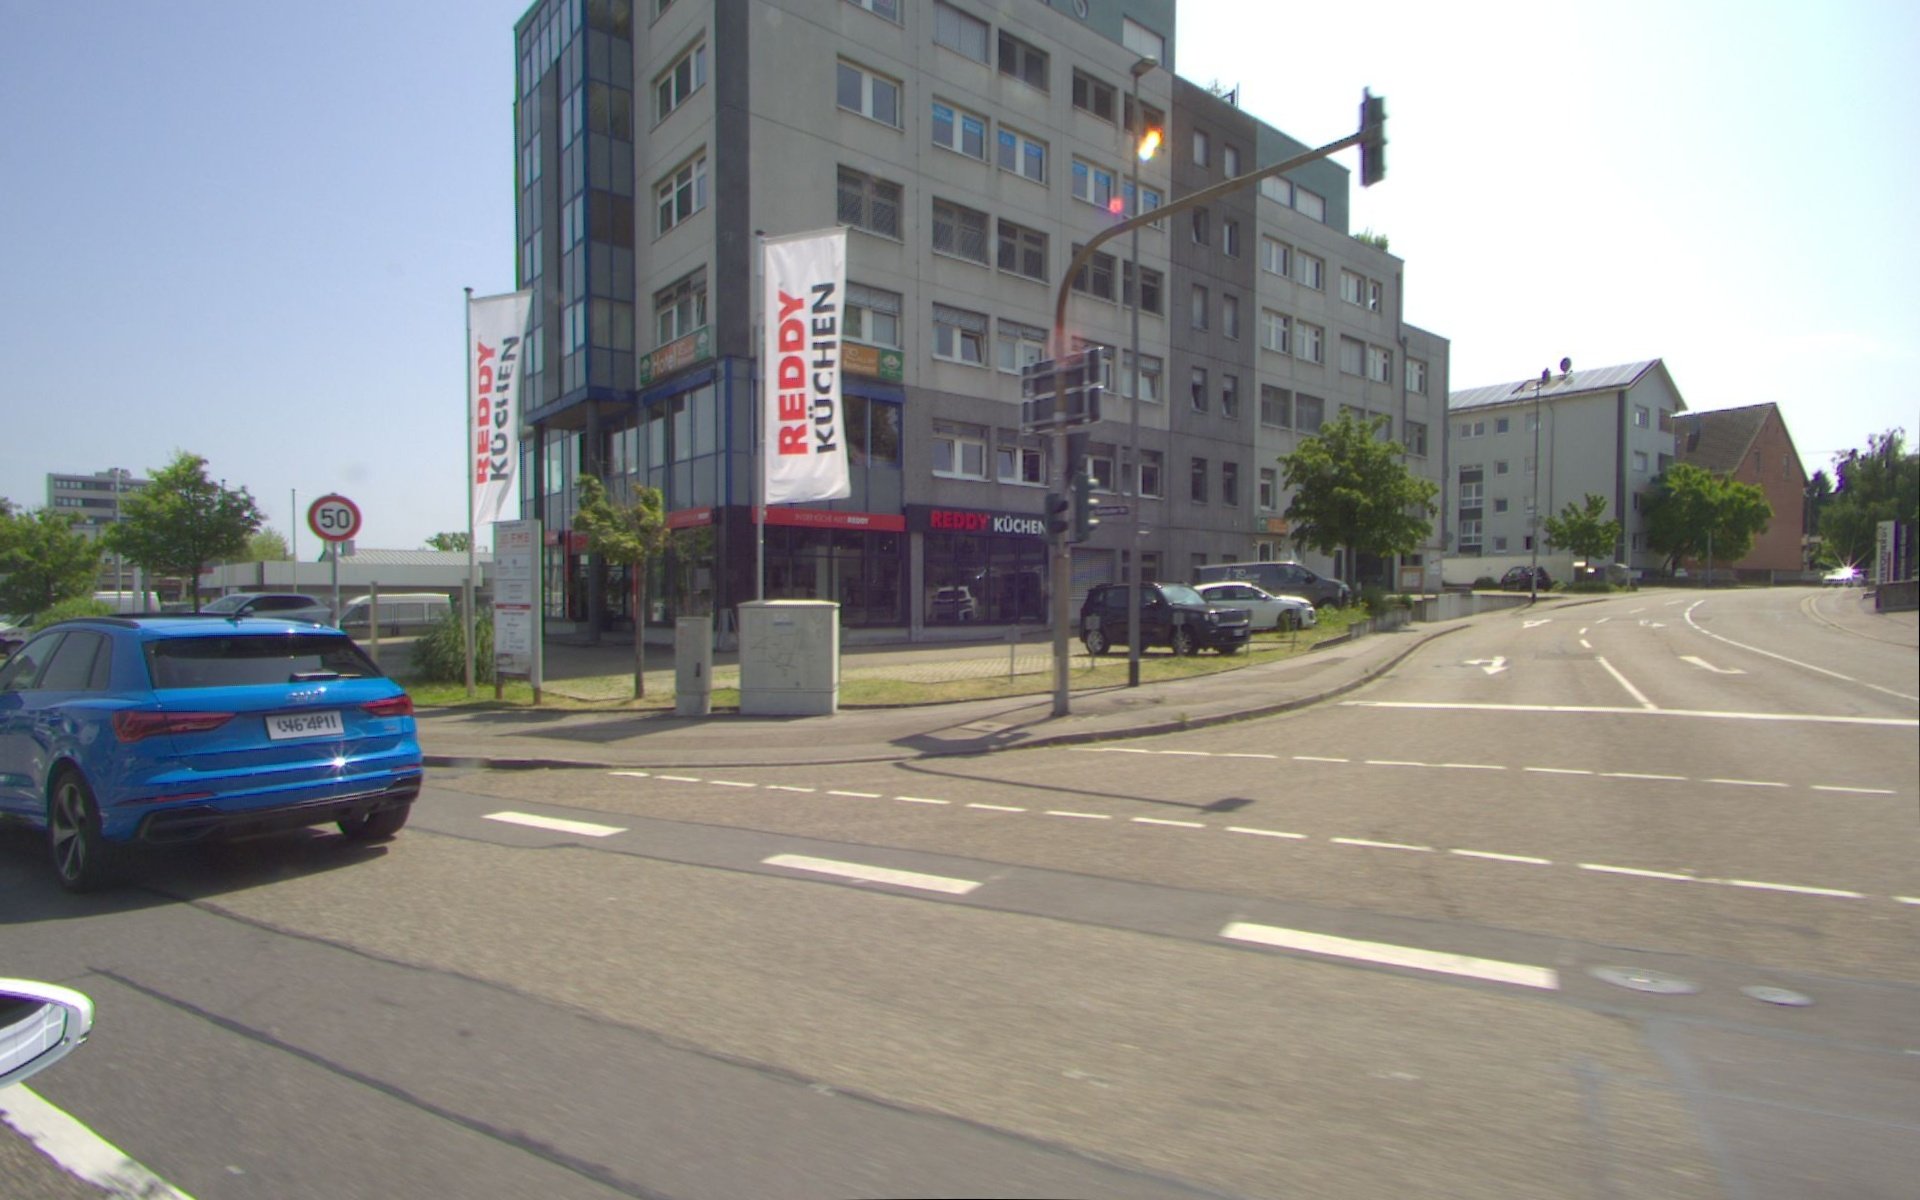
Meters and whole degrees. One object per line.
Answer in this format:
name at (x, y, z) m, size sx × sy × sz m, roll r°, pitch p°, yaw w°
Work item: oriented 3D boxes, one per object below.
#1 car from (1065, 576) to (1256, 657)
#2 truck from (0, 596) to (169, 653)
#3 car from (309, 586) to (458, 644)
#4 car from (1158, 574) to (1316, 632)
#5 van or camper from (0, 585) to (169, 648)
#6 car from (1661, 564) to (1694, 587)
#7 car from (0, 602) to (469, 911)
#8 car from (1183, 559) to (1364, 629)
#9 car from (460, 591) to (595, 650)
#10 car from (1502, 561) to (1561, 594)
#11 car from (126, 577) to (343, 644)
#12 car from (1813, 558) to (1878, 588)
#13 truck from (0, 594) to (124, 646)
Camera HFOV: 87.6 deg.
car at (4.517, 0.390, 23.128) m, size 1.527 × 1.697 × 4.290 m, roll 0°, pitch -1°, yaw -42°
truck at (-40.929, 1.061, 46.629) m, size 6.201 × 2.369 × 2.345 m, roll -2°, pitch 2°, yaw -43°
car at (-27.190, 0.753, 47.404) m, size 5.843 × 2.560 × 2.101 m, roll 1°, pitch -2°, yaw -42°
car at (7.833, 0.114, 28.622) m, size 4.143 × 1.552 × 1.544 m, roll -1°, pitch -2°, yaw 6°
van or camper at (-43.944, 0.750, 49.974) m, size 2.252 × 2.937 × 6.753 m, roll 1°, pitch 1°, yaw 45°
car at (55.096, -1.829, 76.889) m, size 1.704 × 1.528 × 3.920 m, roll -2°, pitch -2°, yaw 41°
car at (-5.712, 0.868, 7.190) m, size 4.331 × 1.618 × 1.910 m, roll -1°, pitch -1°, yaw 31°
car at (9.636, -0.153, 31.102) m, size 5.091 × 2.062 × 1.892 m, roll 0°, pitch -2°, yaw 7°
car at (-22.197, 1.084, 51.580) m, size 6.075 × 2.845 × 1.982 m, roll 1°, pitch -2°, yaw -43°
car at (33.187, -1.294, 58.285) m, size 1.844 × 1.683 × 3.999 m, roll -1°, pitch -2°, yaw 12°
car at (-20.523, 0.359, 28.601) m, size 1.965 × 1.735 × 4.732 m, roll -1°, pitch -2°, yaw 20°
car at (65.100, -1.951, 73.597) m, size 3.934 × 2.039 × 1.995 m, roll 0°, pitch -2°, yaw -22°
truck at (-46.438, 0.968, 51.464) m, size 5.209 × 2.469 × 2.091 m, roll -2°, pitch 2°, yaw -43°
